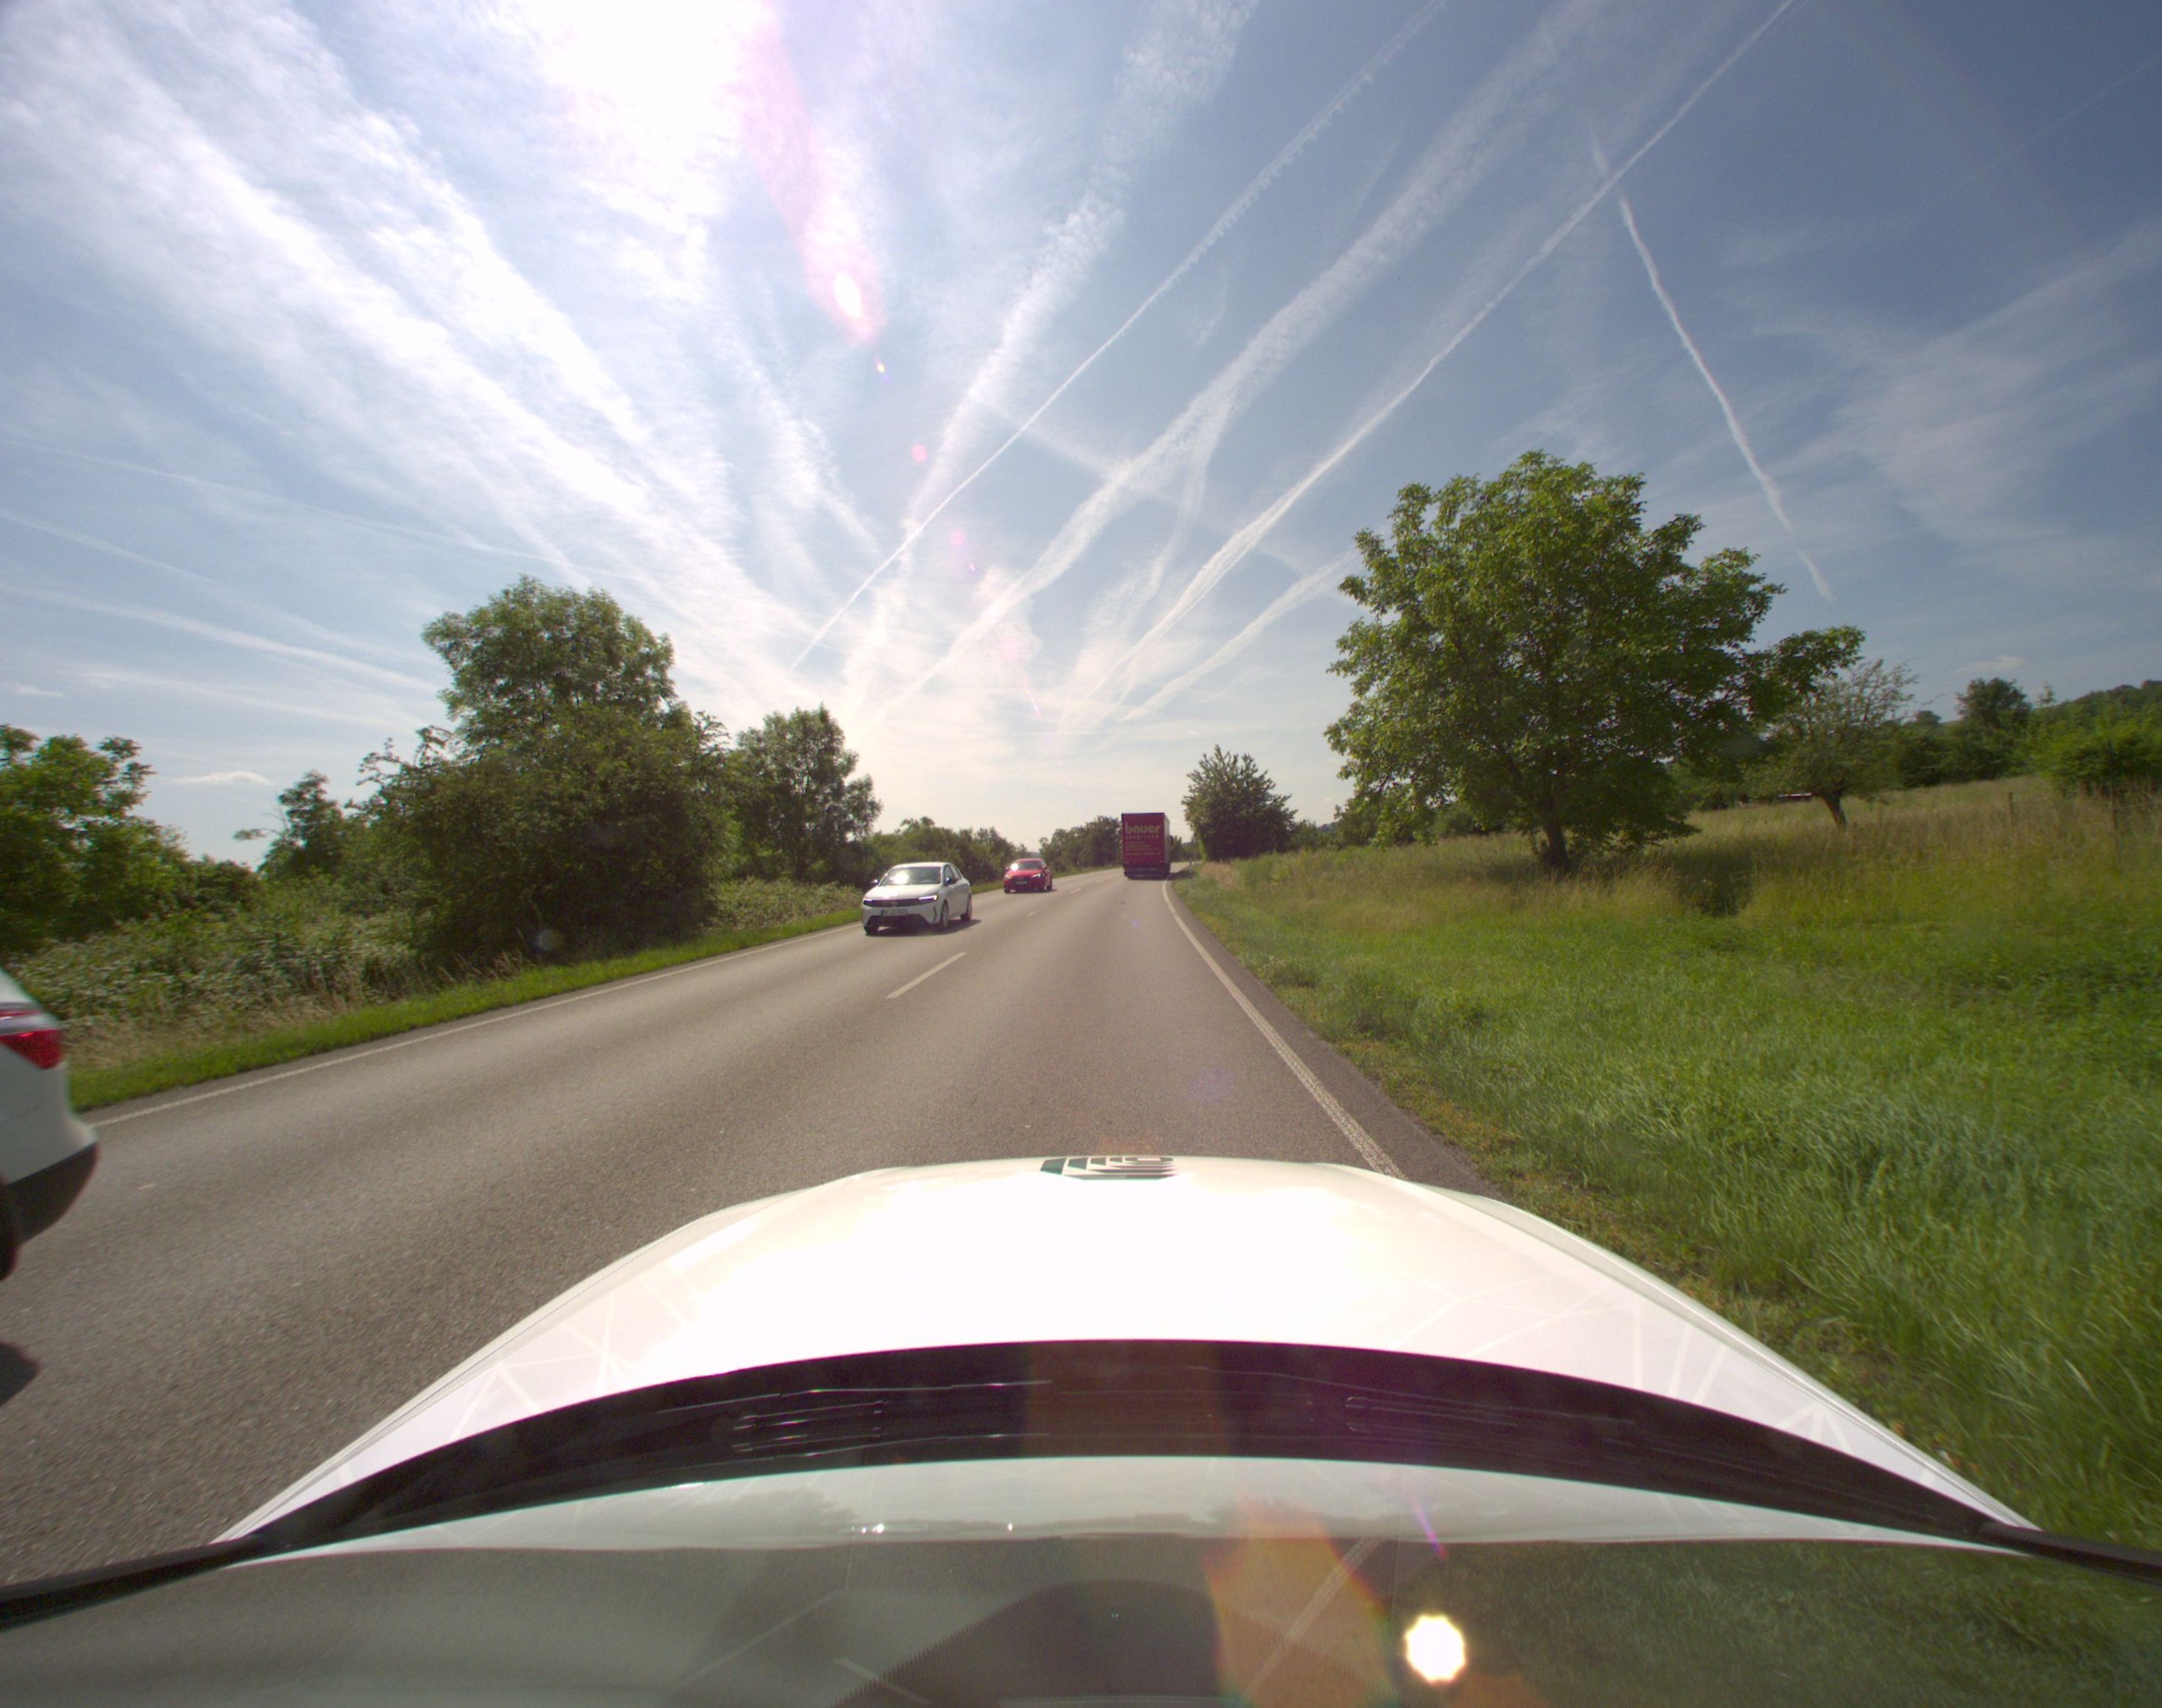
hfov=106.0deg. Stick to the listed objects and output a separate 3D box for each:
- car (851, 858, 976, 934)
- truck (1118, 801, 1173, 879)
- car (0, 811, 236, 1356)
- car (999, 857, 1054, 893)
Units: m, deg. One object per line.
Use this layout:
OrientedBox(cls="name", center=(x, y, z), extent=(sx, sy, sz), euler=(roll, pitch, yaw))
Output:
OrientedBox(cls="car", center=(-3.620, 0.860, 18.279), extent=(1.743, 1.414, 3.776), euler=(-3, 0, 3))
OrientedBox(cls="truck", center=(4.430, -0.737, 53.482), extent=(3.096, 4.506, 12.189), euler=(0, -1, 7))
OrientedBox(cls="car", center=(-4.194, 0.740, 0.889), extent=(1.826, 1.616, 4.364), euler=(-3, 1, 2))
OrientedBox(cls="car", center=(-2.312, 0.877, 35.514), extent=(1.813, 1.398, 4.186), euler=(-1, 0, 3))
